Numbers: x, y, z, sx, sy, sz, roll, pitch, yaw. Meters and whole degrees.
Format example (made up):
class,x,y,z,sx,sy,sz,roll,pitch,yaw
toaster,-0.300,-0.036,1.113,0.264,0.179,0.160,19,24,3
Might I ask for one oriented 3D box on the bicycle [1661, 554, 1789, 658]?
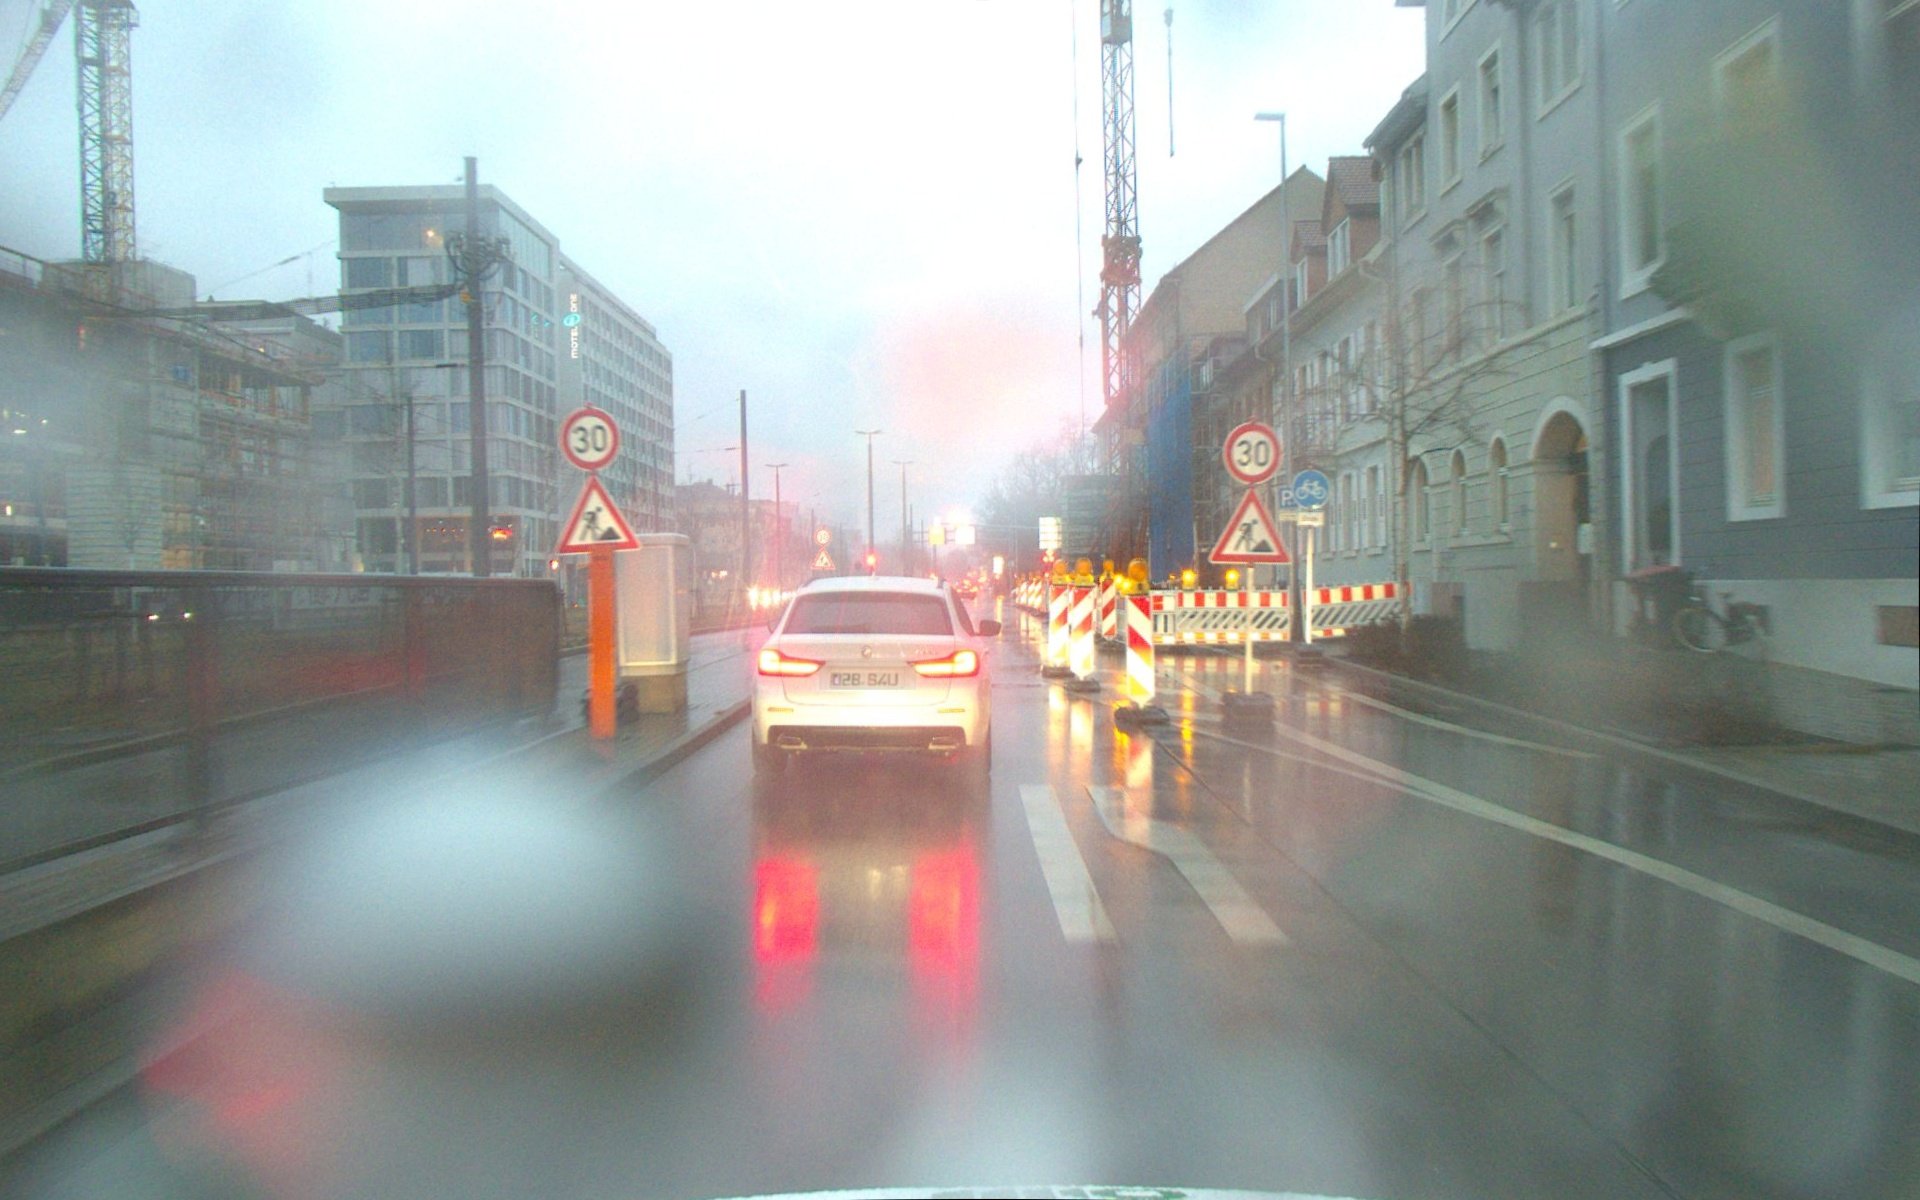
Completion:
class,x,y,z,sx,sy,sz,roll,pitch,yaw
bicycle,9.851,0.068,21.377,0.669,1.243,1.905,-4,0,-1

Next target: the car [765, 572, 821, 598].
class,x,y,z,sx,sy,sz,roll,pitch,yaw
car,-12.863,-1.170,127.393,3.926,2.009,1.990,0,0,-19

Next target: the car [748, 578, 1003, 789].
class,x,y,z,sx,sy,sz,roll,pitch,yaw
car,-0.616,0.569,14.258,1.814,1.491,4.946,0,1,0

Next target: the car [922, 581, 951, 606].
class,x,y,z,sx,sy,sz,roll,pitch,yaw
car,-1.564,-0.455,110.373,1.862,1.670,4.000,0,1,0
